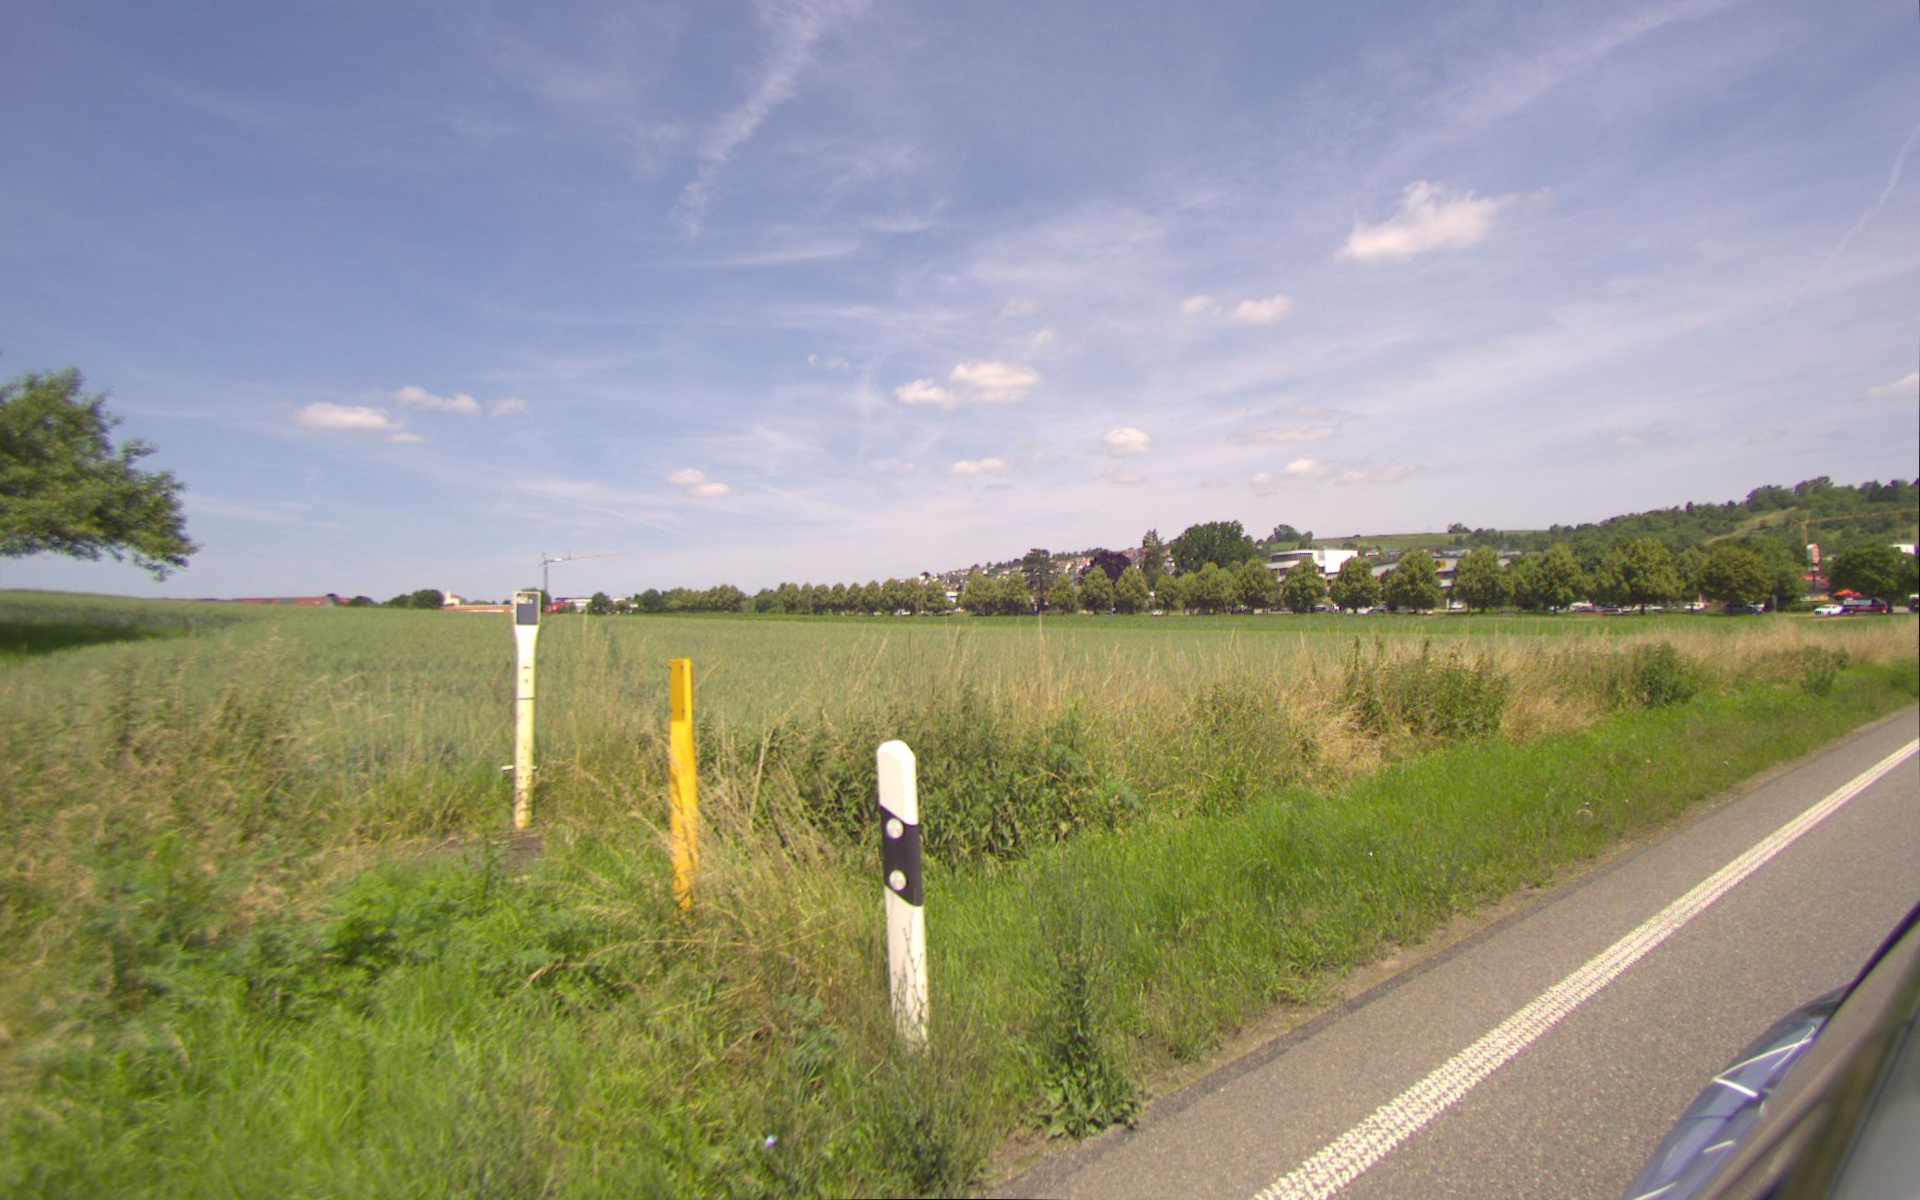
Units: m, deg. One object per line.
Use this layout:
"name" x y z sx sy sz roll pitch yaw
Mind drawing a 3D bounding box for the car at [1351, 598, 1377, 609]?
"car" 82.208 0.732 205.920 1.855 2.039 4.464 -1 1 -41

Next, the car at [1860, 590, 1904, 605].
"car" 127.686 -0.299 140.136 1.857 2.039 4.458 -1 1 -45
